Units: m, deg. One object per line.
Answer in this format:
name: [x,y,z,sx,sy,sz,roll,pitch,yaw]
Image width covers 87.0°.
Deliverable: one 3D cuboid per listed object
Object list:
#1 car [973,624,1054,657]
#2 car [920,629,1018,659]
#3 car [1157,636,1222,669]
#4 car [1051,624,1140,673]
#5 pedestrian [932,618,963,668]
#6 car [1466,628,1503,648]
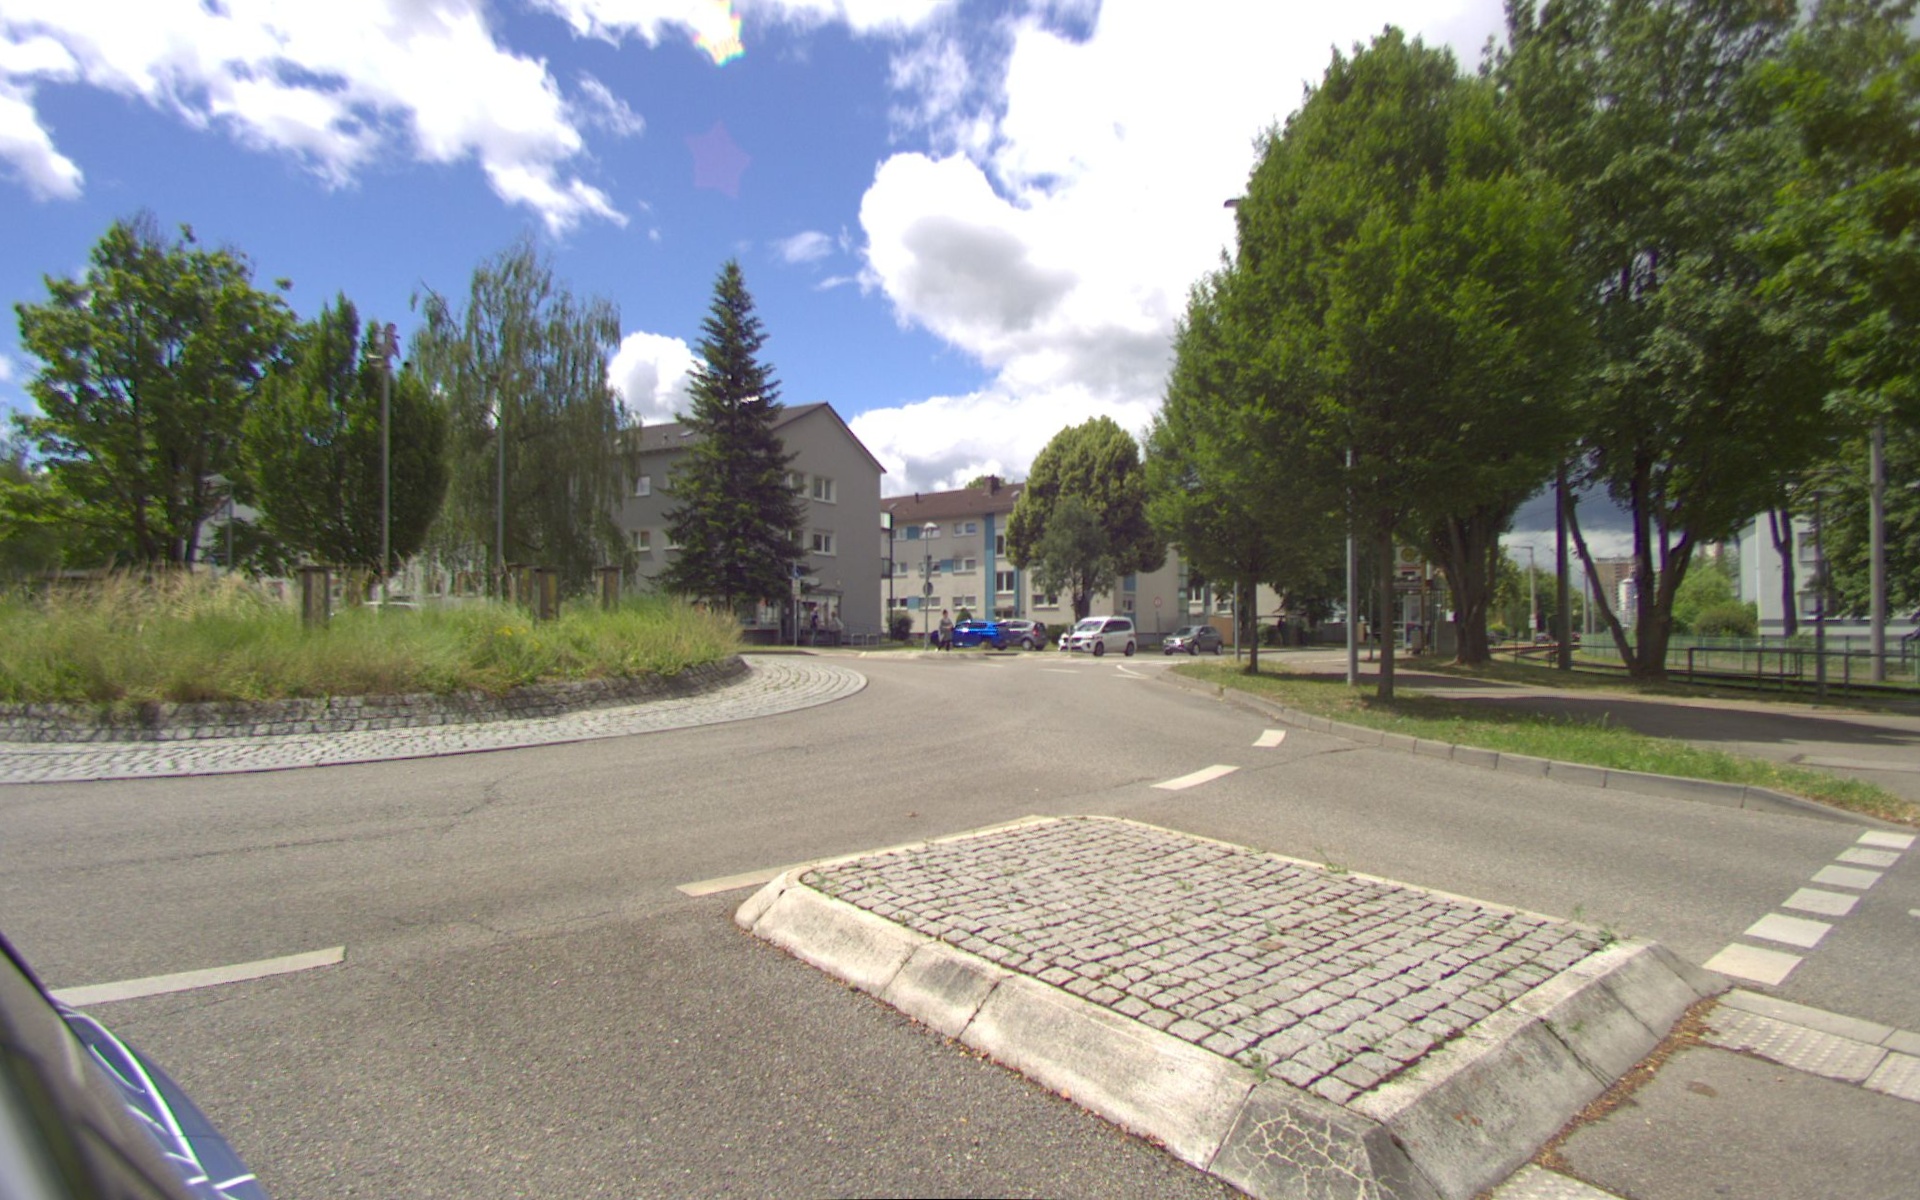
car: [2.821,2.129,53.088,3.727,1.569,2.011,1,-1,31]
car: [0.439,2.173,50.754,4.478,1.253,1.980,2,-1,29]
car: [12.025,2.701,52.871,1.996,1.620,3.952,-1,-2,35]
car: [6.064,2.160,45.060,1.997,2.066,4.387,-3,-3,37]
pedestrian: [-0.452,1.584,37.423,0.871,1.812,0.900,-1,-2,25]
car: [48.330,3.507,93.262,2.000,1.713,3.943,-4,-4,43]
